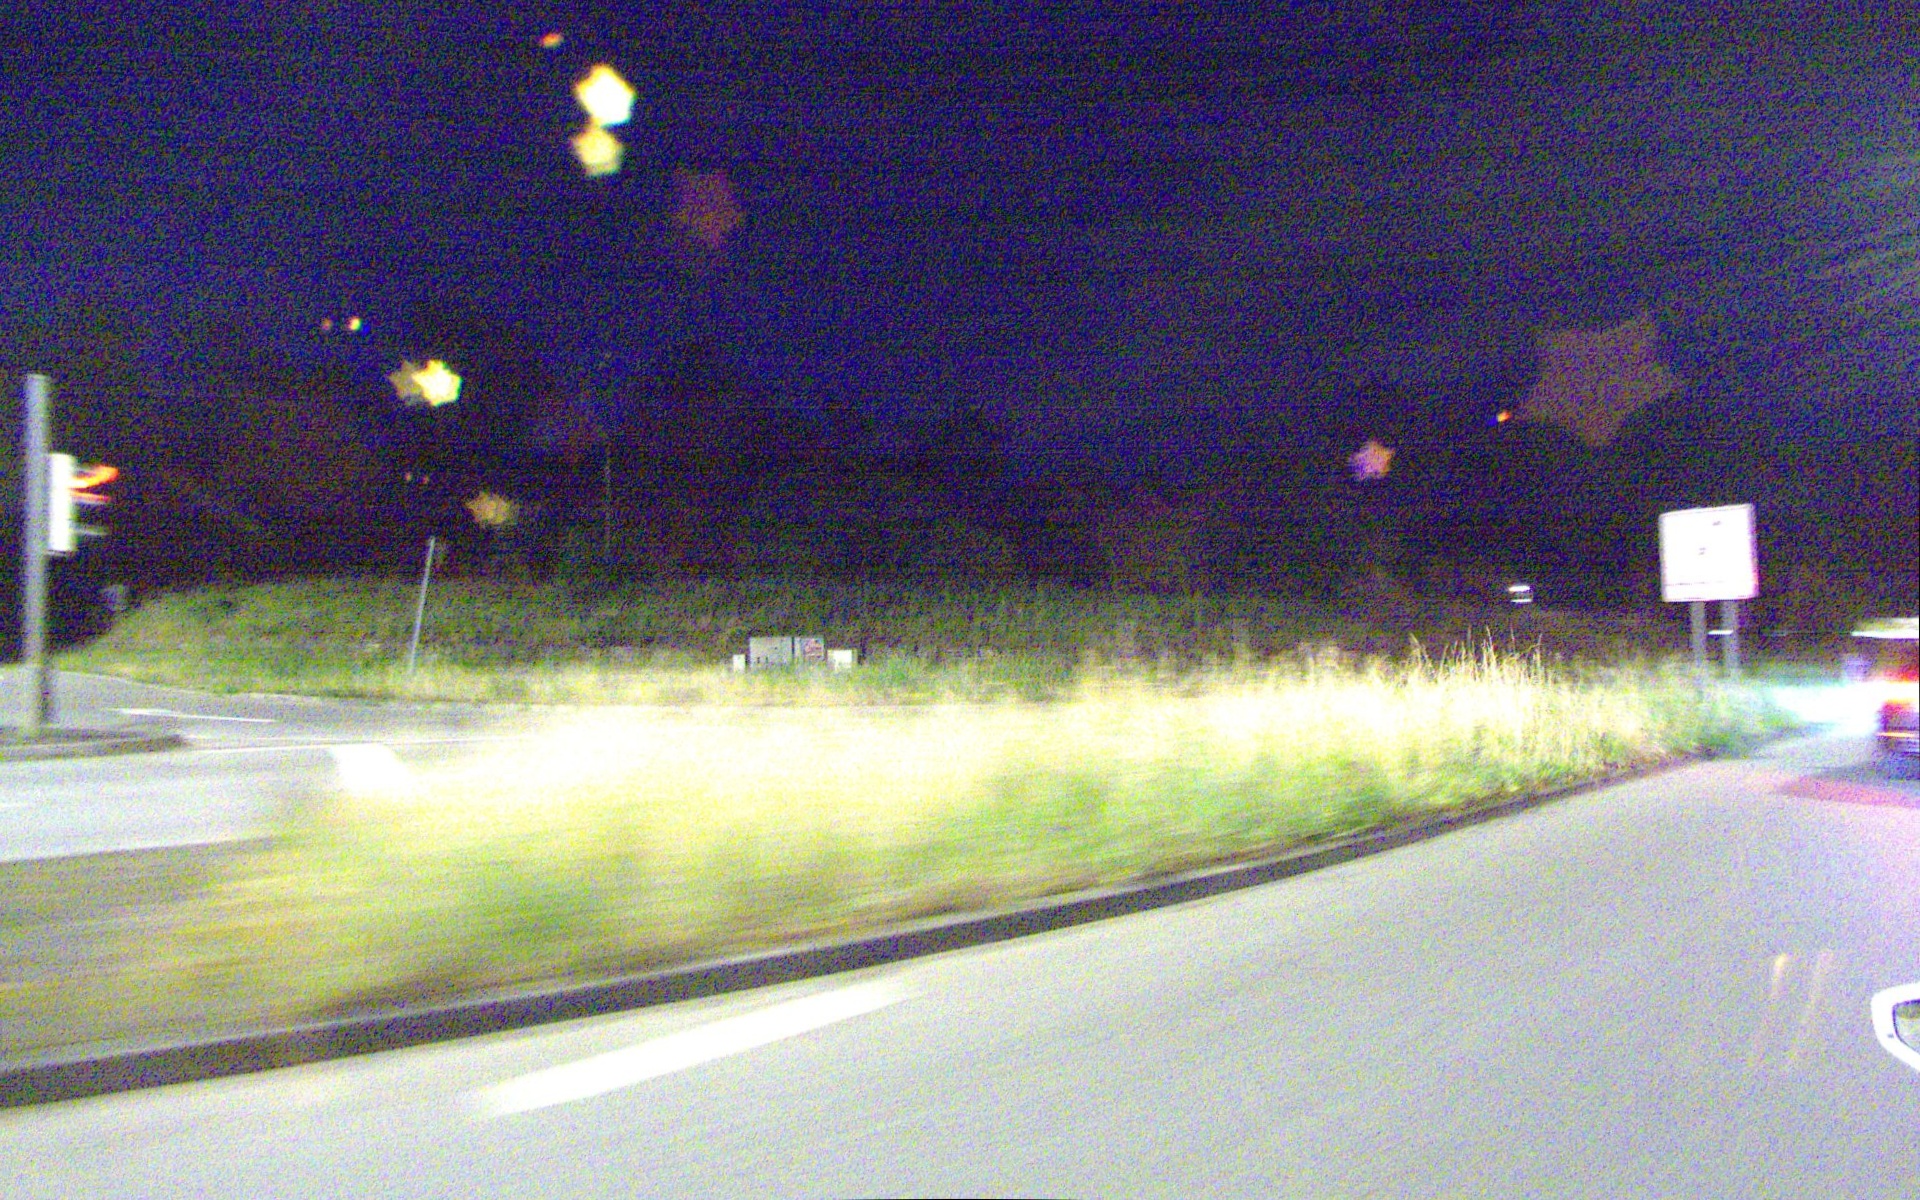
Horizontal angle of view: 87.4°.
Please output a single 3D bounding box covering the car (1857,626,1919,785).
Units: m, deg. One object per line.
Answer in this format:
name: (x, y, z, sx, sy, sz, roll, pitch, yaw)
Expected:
car: (11.557, 1.134, 11.152, 3.974, 1.603, 1.836, 2, -2, -40)
